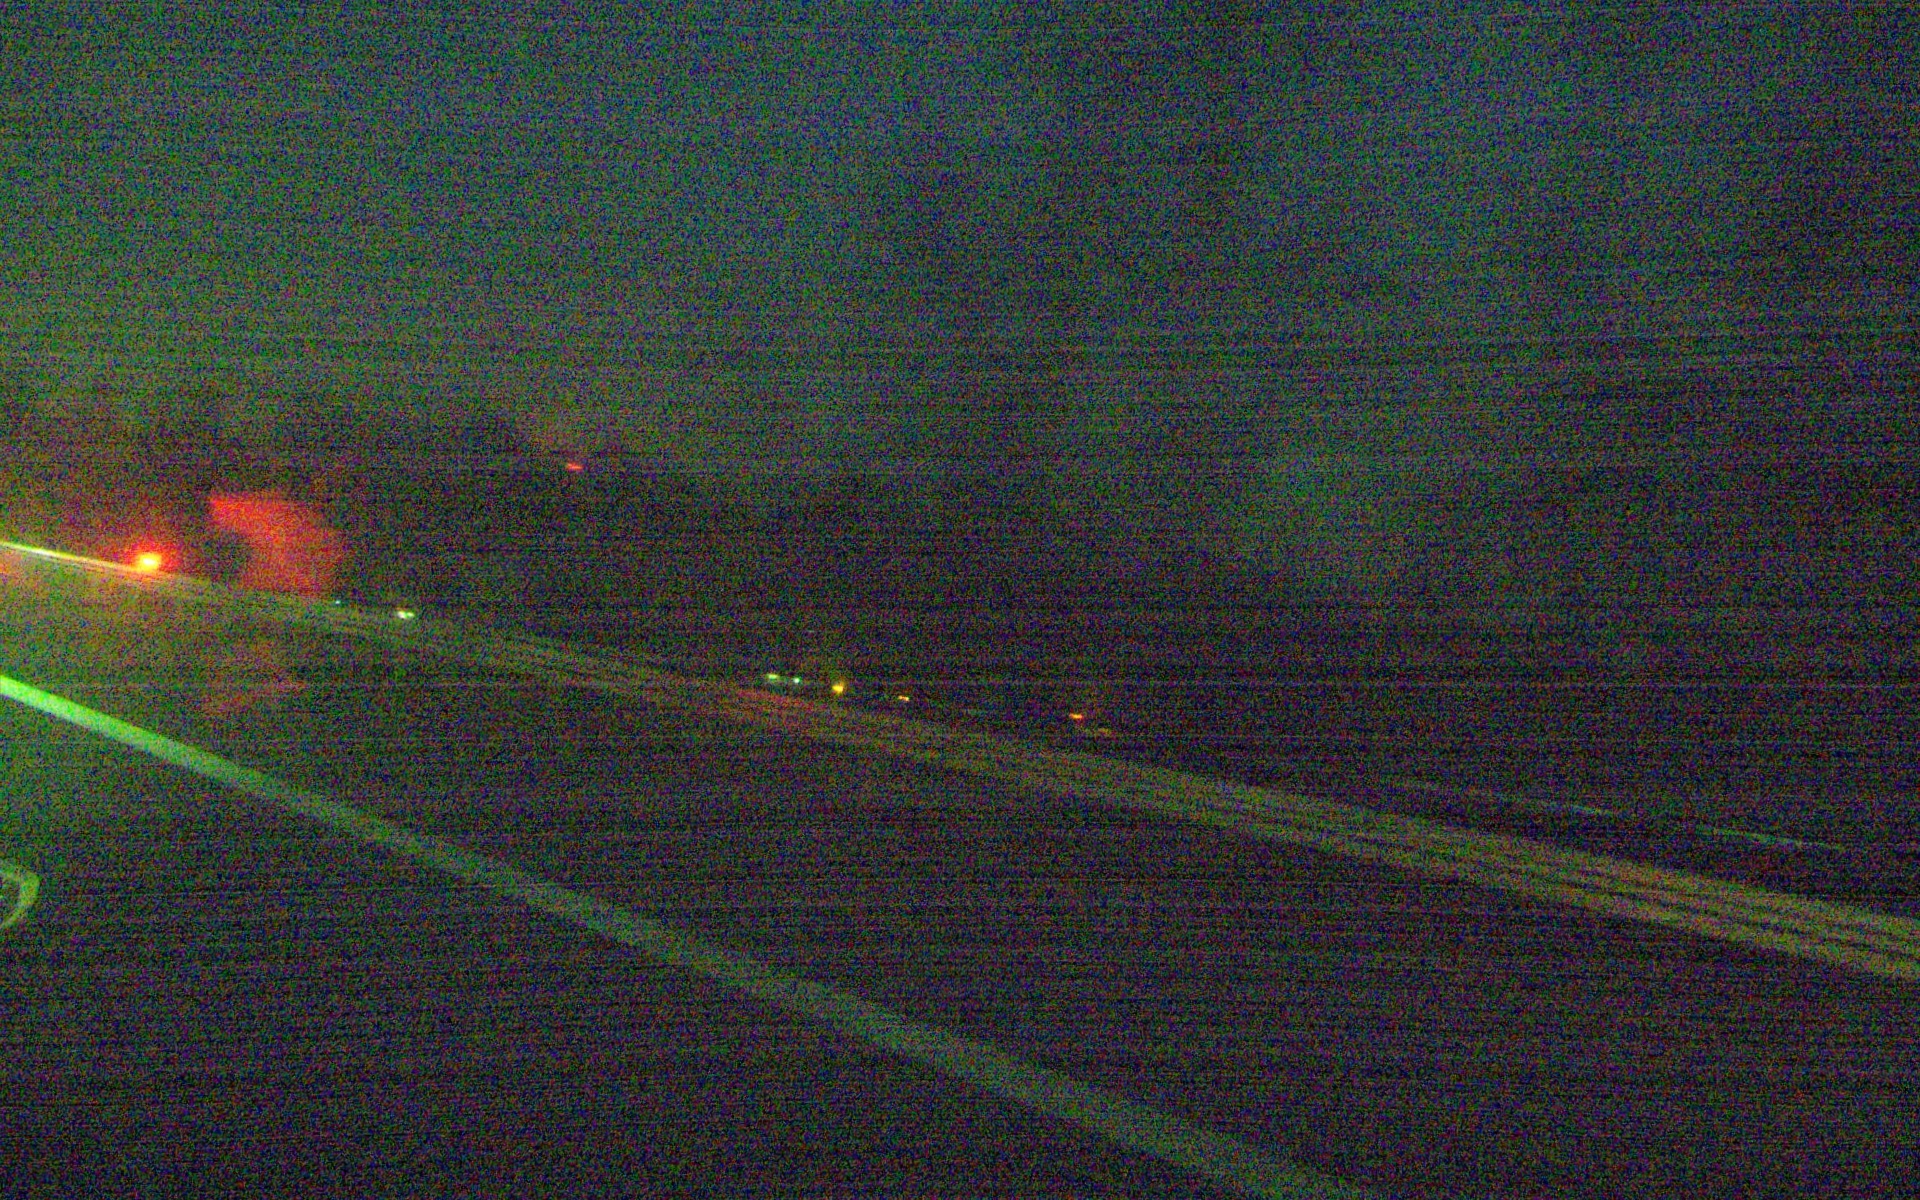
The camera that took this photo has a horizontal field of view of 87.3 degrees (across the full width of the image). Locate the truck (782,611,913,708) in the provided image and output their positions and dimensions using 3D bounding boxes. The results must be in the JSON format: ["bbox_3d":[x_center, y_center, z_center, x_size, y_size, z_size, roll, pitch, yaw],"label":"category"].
[{"bbox_3d":[-5.800,3.122,52.799,6.078,4.271,2.770,6,-2,2],"label":"truck"}]

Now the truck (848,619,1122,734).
[{"bbox_3d":[1.282,3.959,52.537,13.567,4.271,2.770,7,-2,2],"label":"truck"}]

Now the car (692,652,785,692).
[{"bbox_3d":[-10.806,3.508,49.197,3.916,1.309,1.715,9,-2,8],"label":"car"}]
